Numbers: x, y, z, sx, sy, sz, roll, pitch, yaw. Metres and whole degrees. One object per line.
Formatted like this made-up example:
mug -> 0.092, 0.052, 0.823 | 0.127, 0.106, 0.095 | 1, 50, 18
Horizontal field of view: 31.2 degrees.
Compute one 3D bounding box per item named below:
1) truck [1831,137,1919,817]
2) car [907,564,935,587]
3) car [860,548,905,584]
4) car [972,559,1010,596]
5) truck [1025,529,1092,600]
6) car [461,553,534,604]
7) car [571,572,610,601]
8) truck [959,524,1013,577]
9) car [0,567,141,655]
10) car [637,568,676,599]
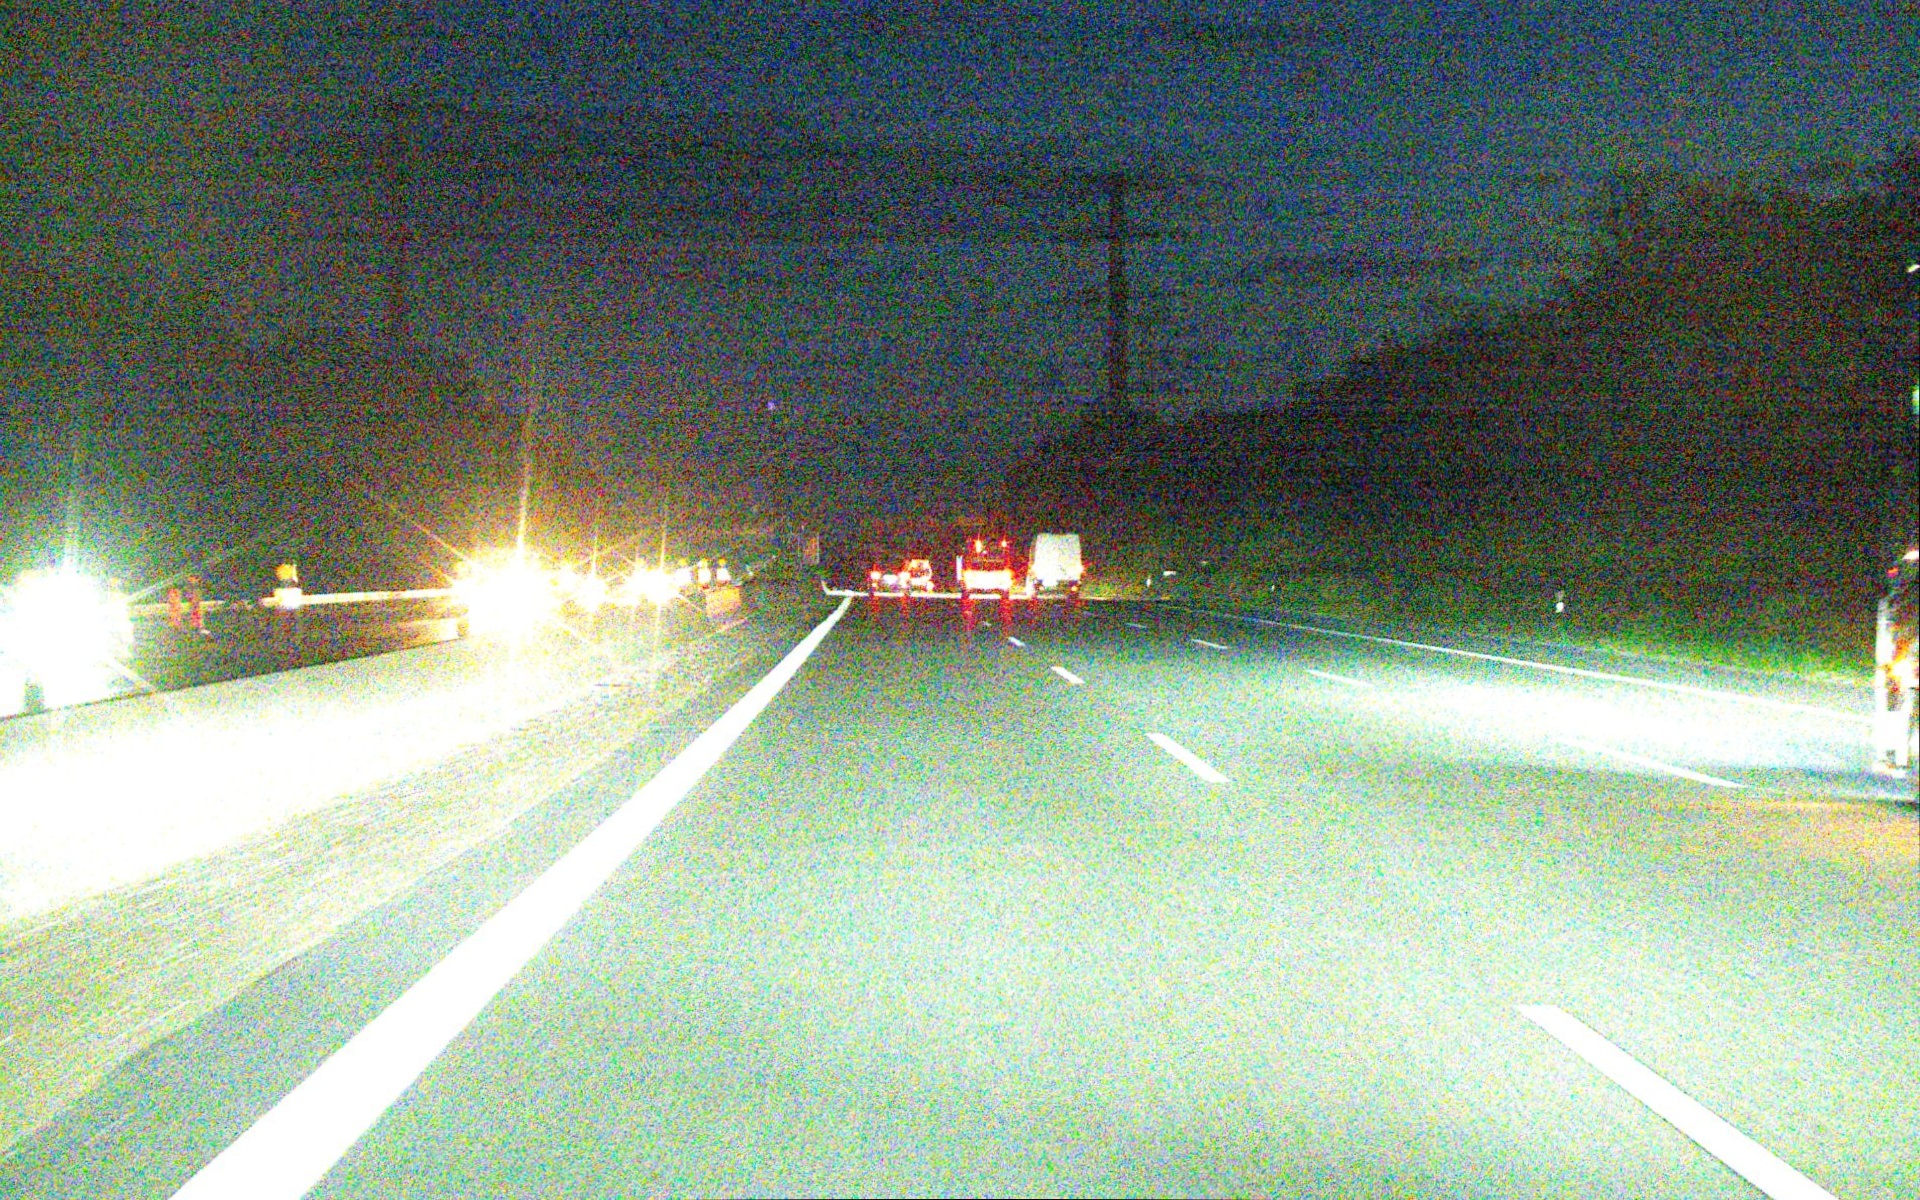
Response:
truck -> 7.043, -0.684, 18.423 | 2.591, 4.058, 7.674 | 1, 1, -1
car -> -2.719, -1.698, 237.204 | 1.821, 1.461, 4.248 | 1, 1, -2
car -> -3.296, -1.458, 145.474 | 1.821, 1.461, 4.248 | 1, 1, -2
car -> 1.226, -0.904, 137.371 | 1.346, 1.382, 3.502 | 1, 1, -2
truck -> 4.095, -1.517, 144.400 | 2.076, 2.681, 7.310 | 1, 2, -3
car -> -14.129, -0.687, 105.168 | 1.750, 1.473, 4.583 | -2, 1, -2
car -> -19.677, -0.733, 183.296 | 1.750, 1.473, 4.583 | -2, 1, -2
truck -> 1.678, -3.241, 225.631 | 3.044, 3.313, 10.143 | 1, 1, -2
car -> -15.408, 0.160, 59.076 | 1.631, 1.389, 4.878 | -2, 1, -2
car -> -15.587, -0.869, 176.918 | 1.750, 1.473, 4.583 | -2, 1, -2
